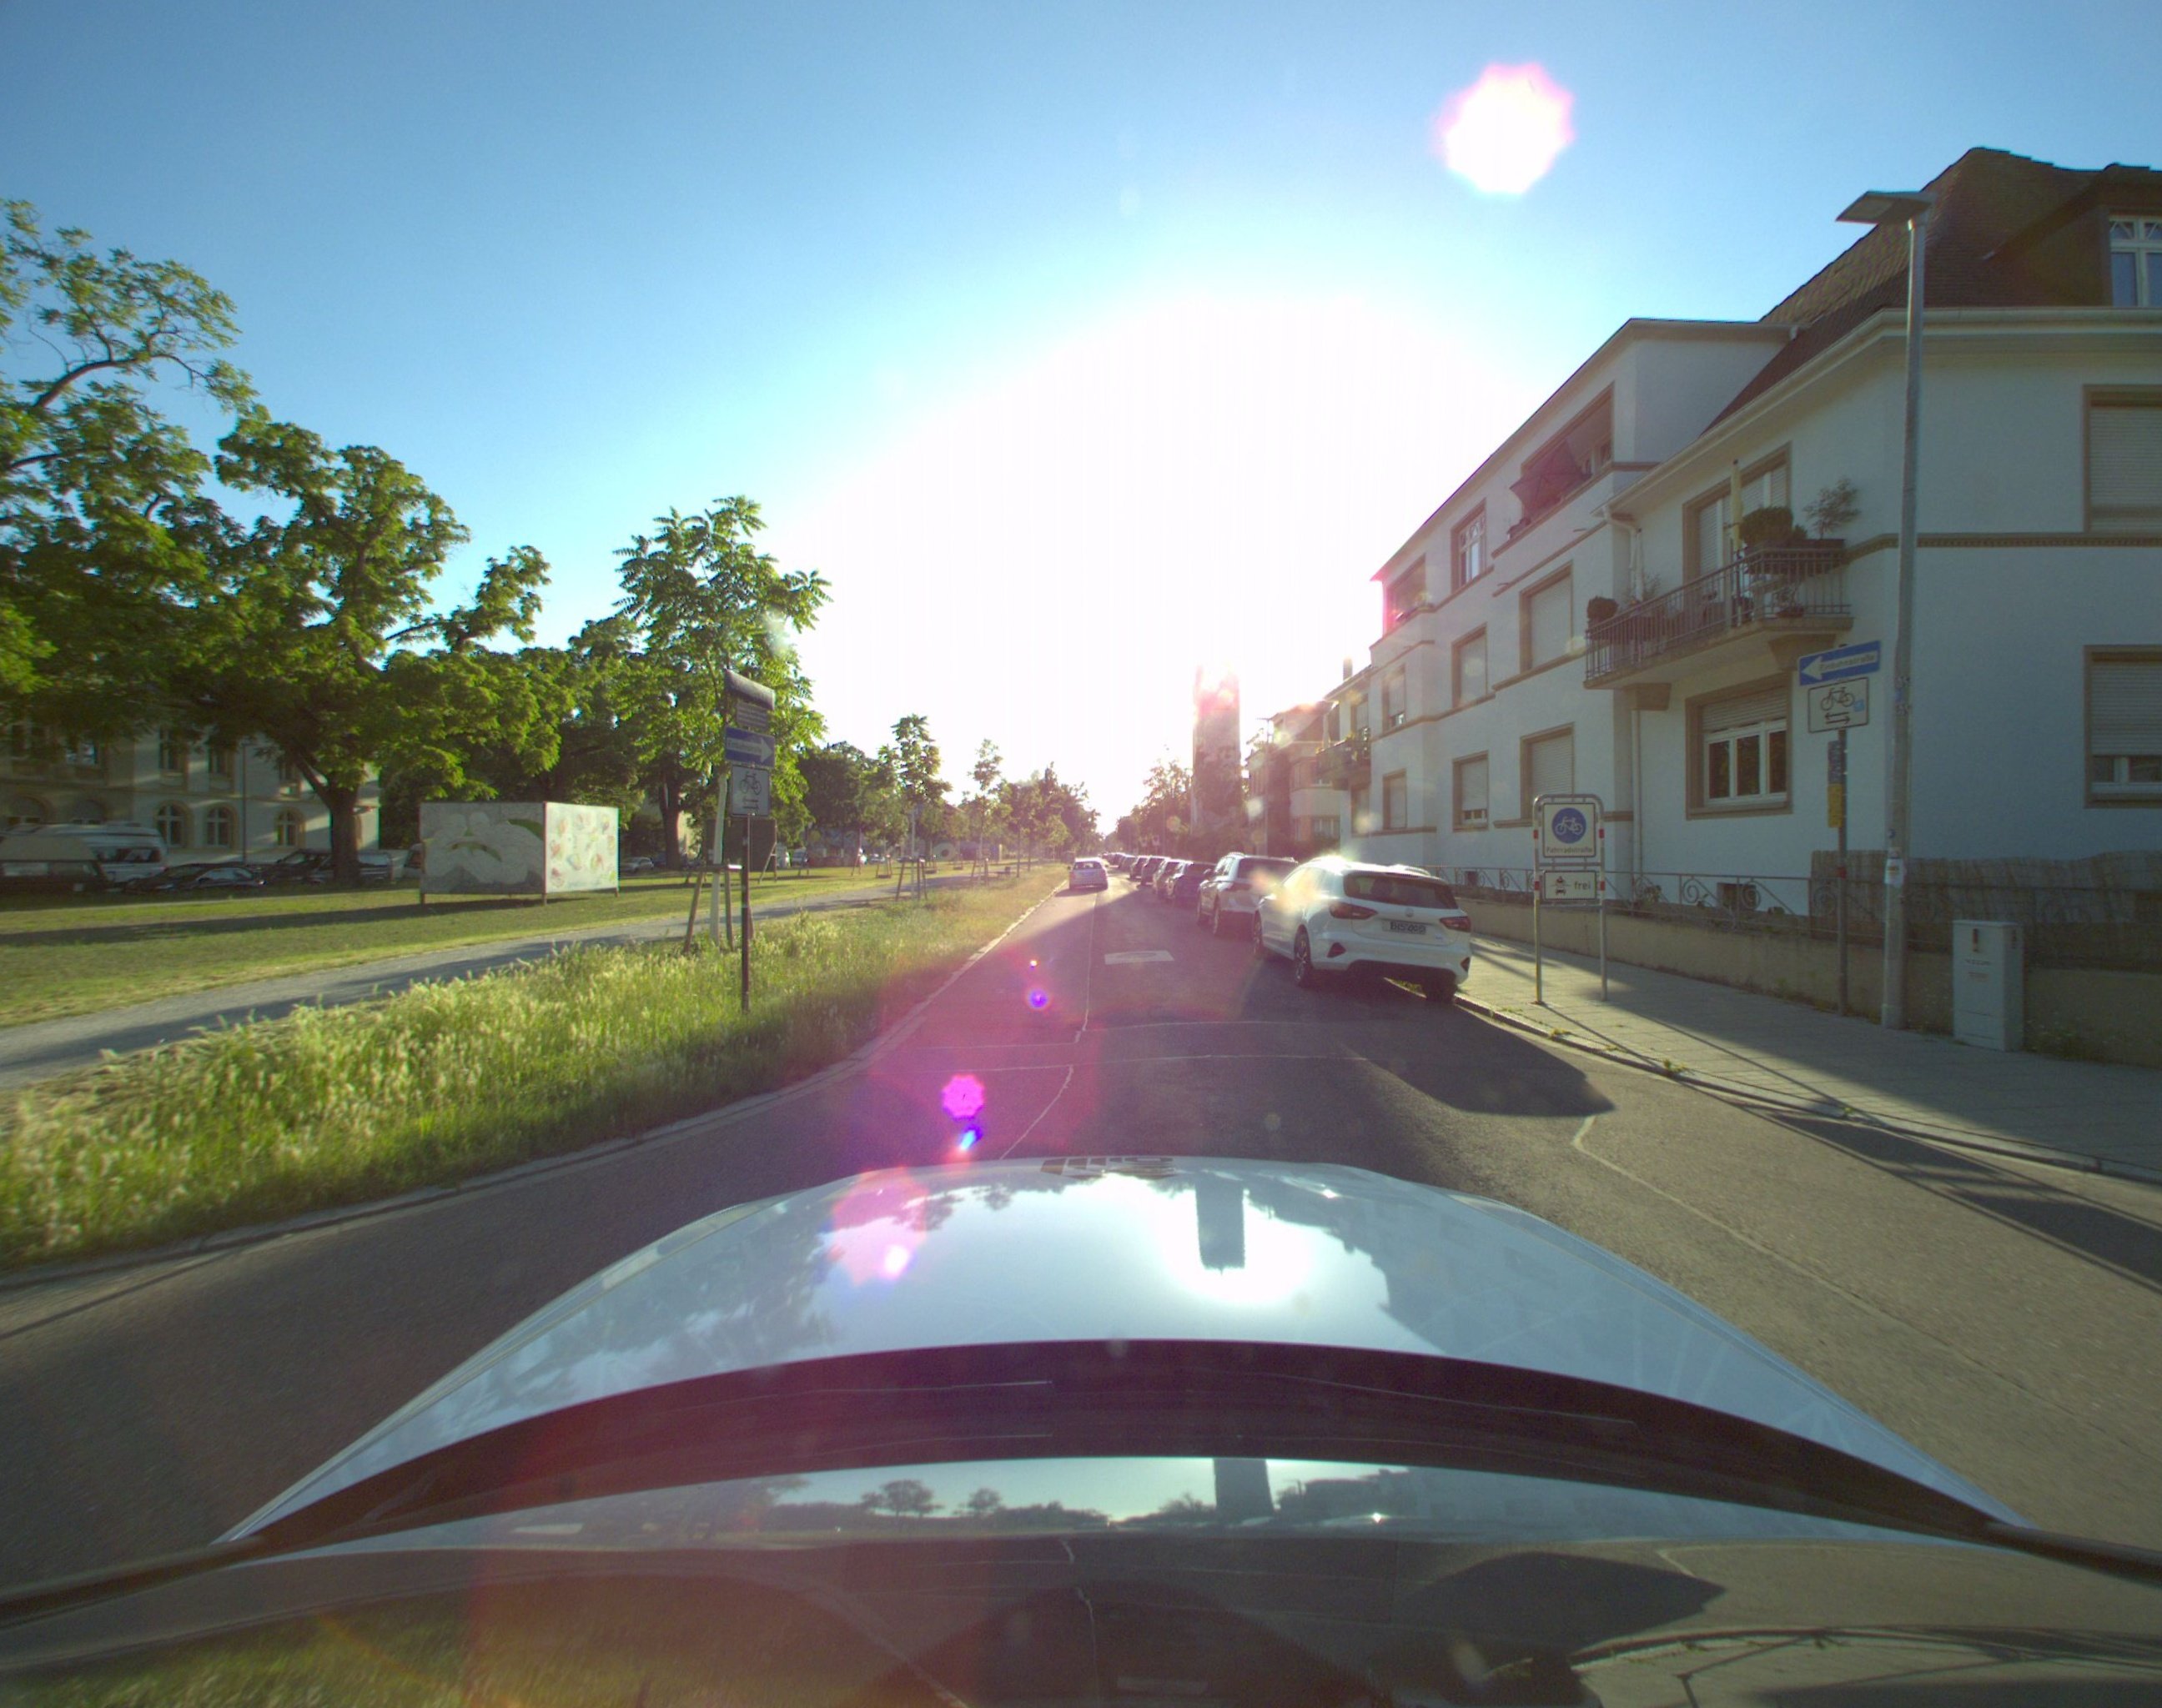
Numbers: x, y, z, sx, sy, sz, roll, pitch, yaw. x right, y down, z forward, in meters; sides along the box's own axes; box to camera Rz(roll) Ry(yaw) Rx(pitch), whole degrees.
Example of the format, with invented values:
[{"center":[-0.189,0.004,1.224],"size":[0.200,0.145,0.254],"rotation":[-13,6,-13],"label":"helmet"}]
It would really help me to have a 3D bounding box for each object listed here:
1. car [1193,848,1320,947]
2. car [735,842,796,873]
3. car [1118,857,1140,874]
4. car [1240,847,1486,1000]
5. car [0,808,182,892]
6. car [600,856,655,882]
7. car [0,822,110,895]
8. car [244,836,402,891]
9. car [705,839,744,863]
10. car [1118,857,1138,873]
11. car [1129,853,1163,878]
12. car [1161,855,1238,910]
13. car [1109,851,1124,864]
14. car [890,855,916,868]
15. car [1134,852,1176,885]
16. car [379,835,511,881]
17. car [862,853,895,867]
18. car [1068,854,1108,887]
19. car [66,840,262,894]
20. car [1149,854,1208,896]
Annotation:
[{"center":[3.431,0.769,16.695],"size":[1.679,1.651,4.100],"rotation":[4,0,1],"label":"car"},{"center":[-32.235,0.336,83.525],"size":[3.147,2.992,6.897],"rotation":[-2,0,2],"label":"car"},{"center":[4.587,1.075,77.901],"size":[1.986,1.629,4.002],"rotation":[0,0,2],"label":"car"},{"center":[3.408,0.719,10.773],"size":[1.753,1.605,4.358],"rotation":[0,0,0],"label":"car"},{"center":[-39.004,-0.082,31.240],"size":[2.429,2.922,5.819],"rotation":[-2,0,1],"label":"car"},{"center":[-38.347,1.249,68.931],"size":[1.986,2.013,4.486],"rotation":[-2,0,1],"label":"car"},{"center":[-33.189,0.142,24.917],"size":[1.678,2.175,4.316],"rotation":[0,0,2],"label":"car"},{"center":[-33.040,0.375,35.775],"size":[1.986,2.250,5.188],"rotation":[0,0,1],"label":"car"},{"center":[-38.002,-0.288,86.908],"size":[1.986,2.409,4.365],"rotation":[-2,0,2],"label":"car"},{"center":[4.868,1.119,84.150],"size":[1.986,1.629,4.002],"rotation":[0,0,2],"label":"car"},{"center":[4.100,0.704,51.967],"size":[1.986,1.464,4.002],"rotation":[0,0,2],"label":"car"},{"center":[3.649,0.843,25.704],"size":[1.755,1.420,3.999],"rotation":[5,0,0],"label":"car"},{"center":[4.861,0.469,112.471],"size":[1.973,1.683,4.002],"rotation":[0,0,2],"label":"car"},{"center":[-31.792,1.397,145.659],"size":[3.147,2.148,6.113],"rotation":[-2,0,2],"label":"car"},{"center":[3.687,0.705,41.142],"size":[1.755,1.521,3.999],"rotation":[2,0,0],"label":"car"},{"center":[-33.222,0.135,42.830],"size":[2.525,2.236,5.461],"rotation":[-1,1,2],"label":"car"},{"center":[-31.713,0.918,127.889],"size":[3.147,2.148,6.897],"rotation":[-2,0,2],"label":"car"},{"center":[0.313,0.717,37.917],"size":[1.755,1.420,3.999],"rotation":[-2,0,0],"label":"car"},{"center":[-33.238,0.432,29.762],"size":[1.986,1.793,4.487],"rotation":[0,0,2],"label":"car"},{"center":[3.637,0.749,31.106],"size":[1.755,1.420,3.999],"rotation":[2,0,0],"label":"car"}]
